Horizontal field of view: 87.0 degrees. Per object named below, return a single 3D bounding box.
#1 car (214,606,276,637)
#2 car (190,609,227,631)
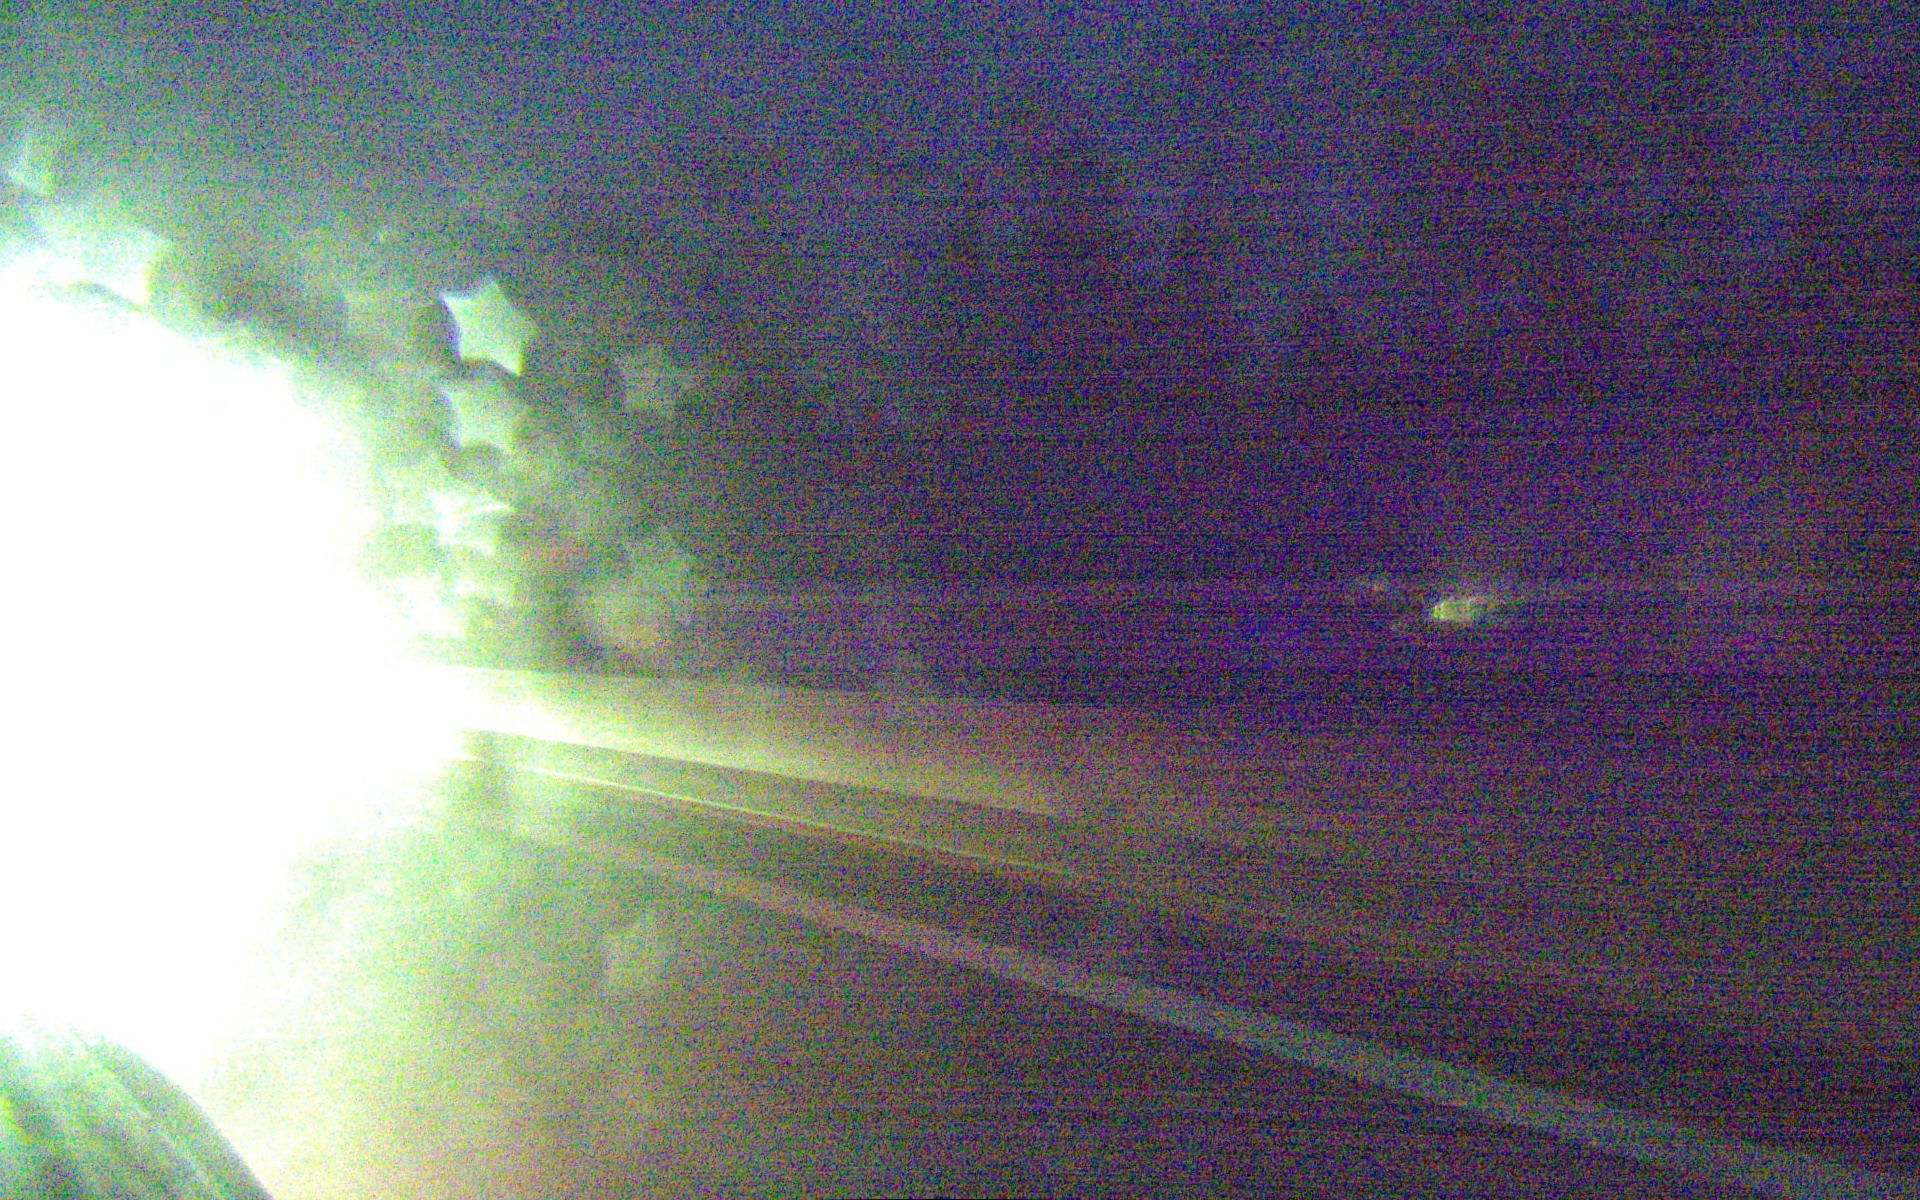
[{"bbox_3d":[-39.589,1.205,55.999,4.001,1.489,1.972,-3,3,44],"label":"car"},{"bbox_3d":[-64.618,1.757,86.997,1.971,1.616,4.003,-7,3,-44],"label":"car"}]
